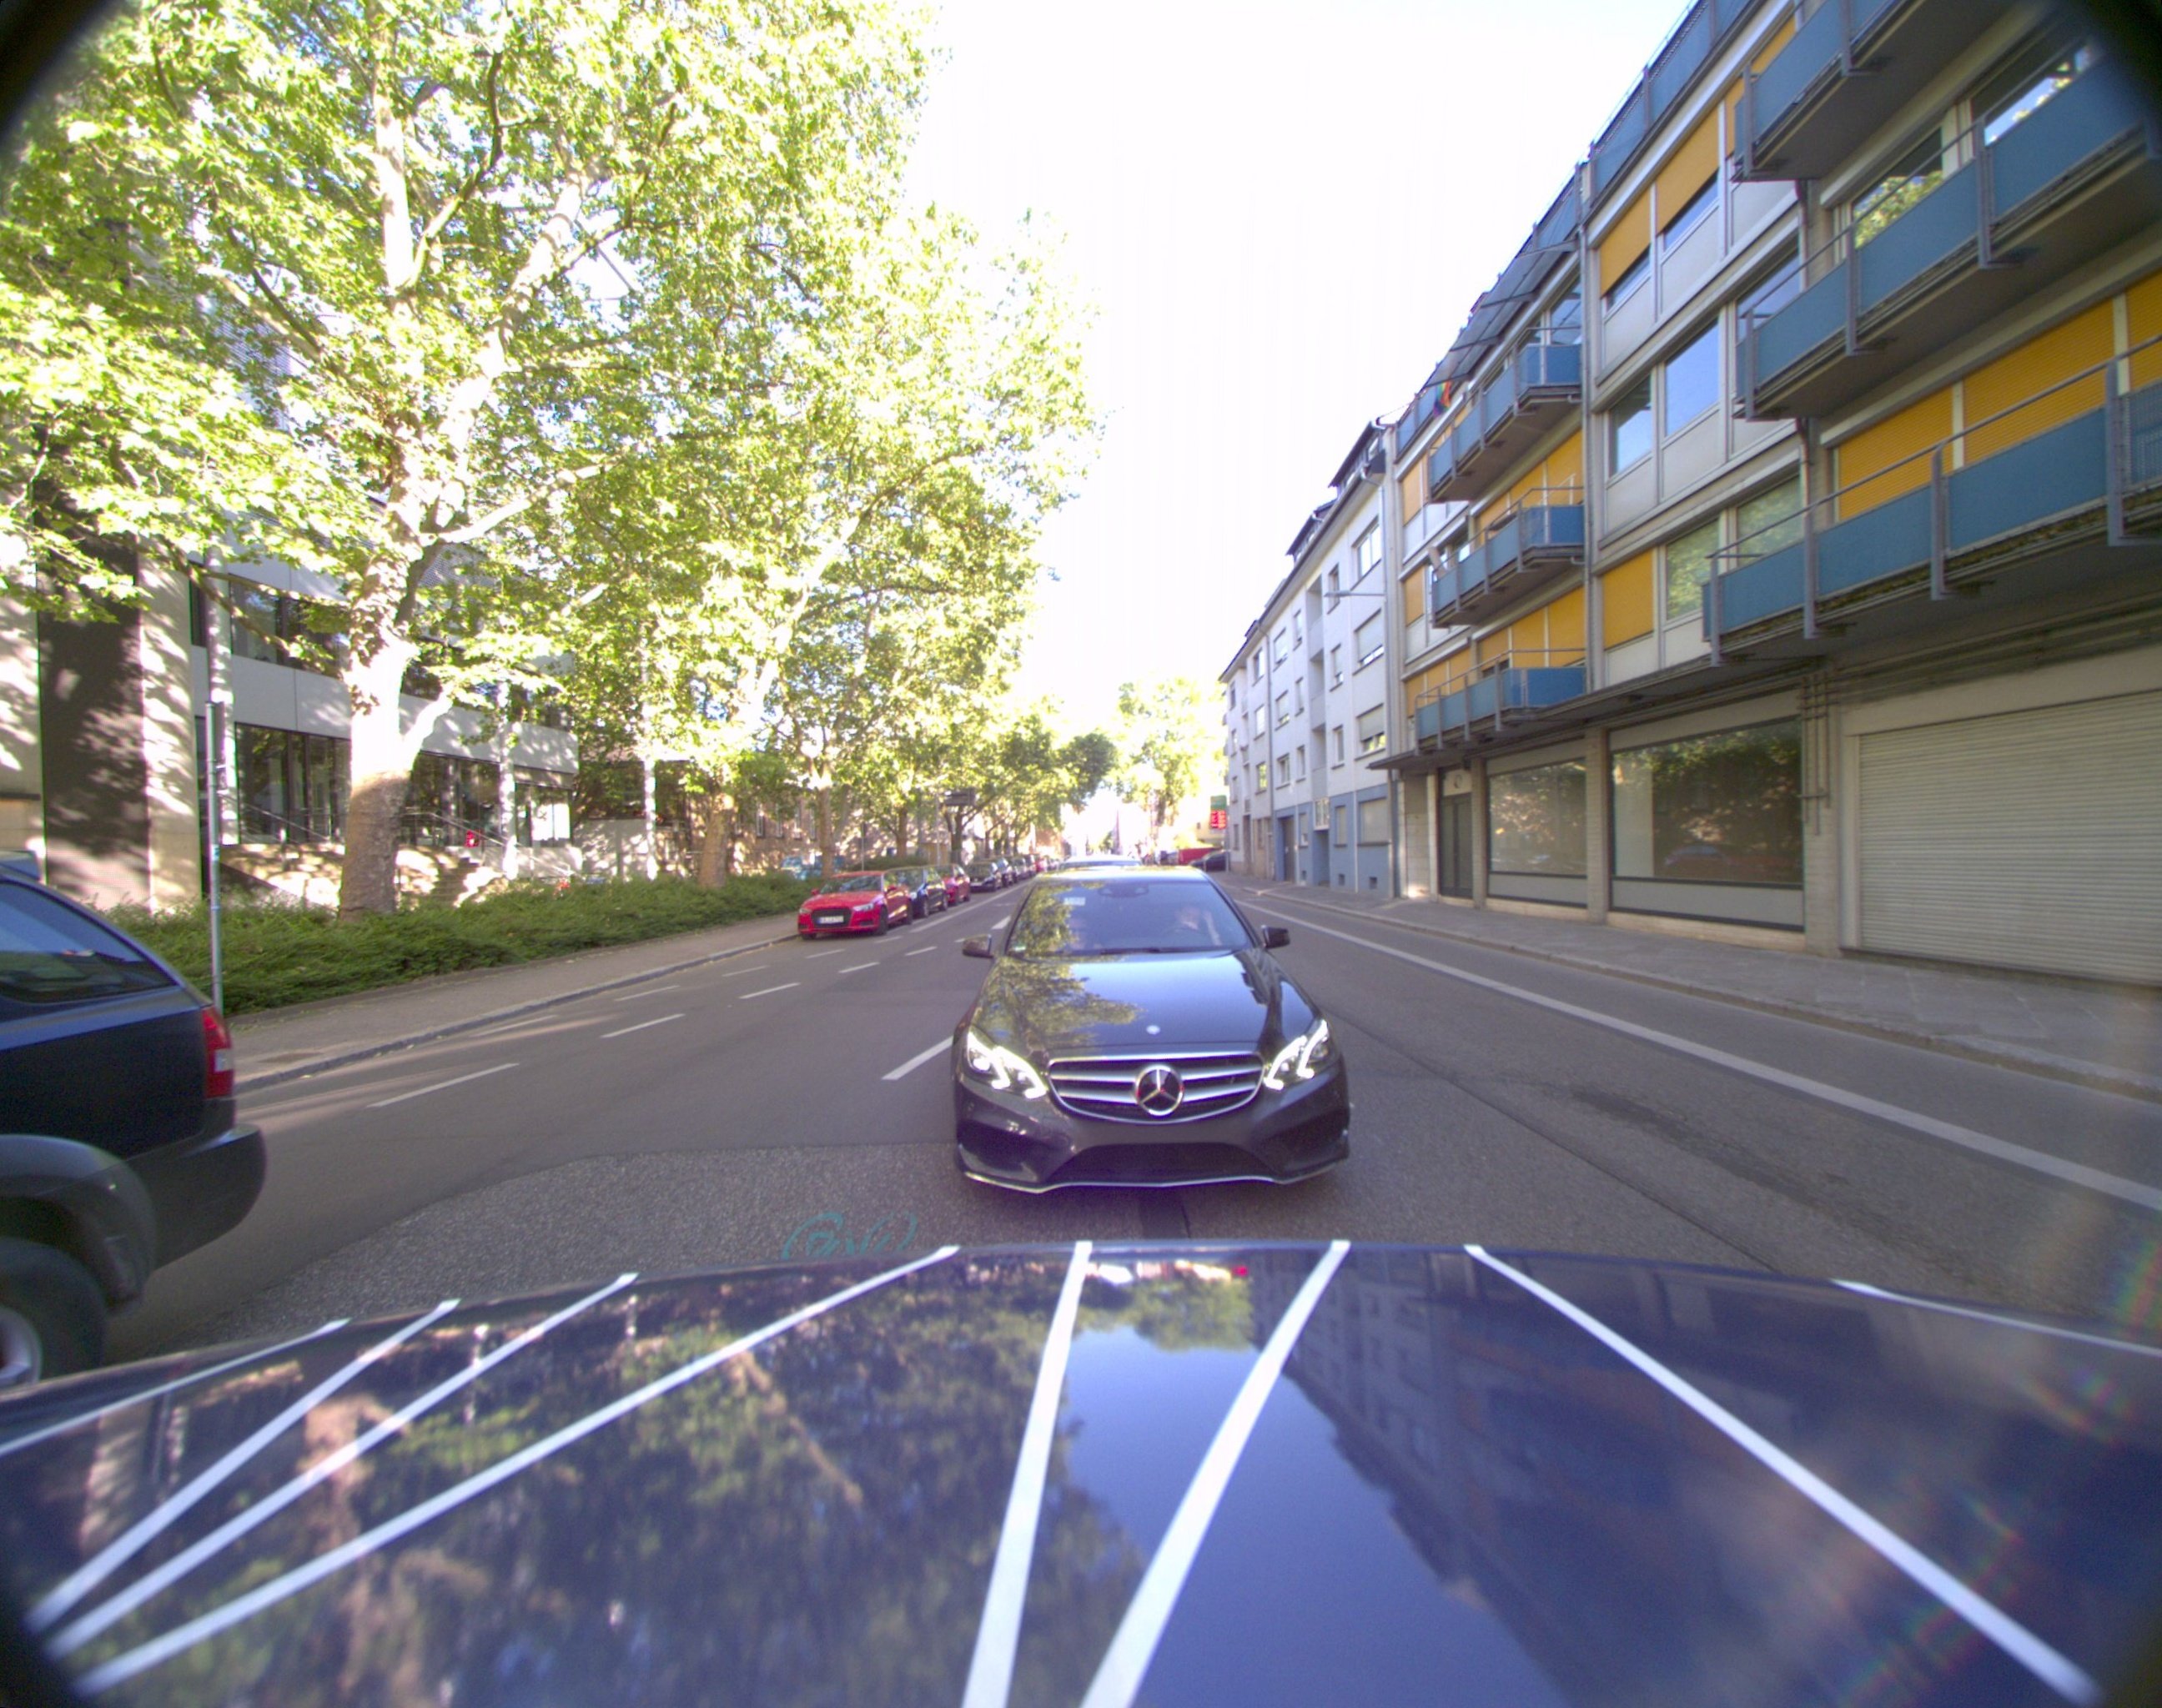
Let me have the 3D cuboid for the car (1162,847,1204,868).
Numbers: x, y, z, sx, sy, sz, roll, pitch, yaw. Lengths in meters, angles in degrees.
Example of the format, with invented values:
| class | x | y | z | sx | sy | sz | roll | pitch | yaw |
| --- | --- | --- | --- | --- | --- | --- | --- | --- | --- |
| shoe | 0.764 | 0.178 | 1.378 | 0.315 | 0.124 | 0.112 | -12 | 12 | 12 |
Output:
| class | x | y | z | sx | sy | sz | roll | pitch | yaw |
| --- | --- | --- | --- | --- | --- | --- | --- | --- | --- |
| car | 10.334 | 0.351 | 77.147 | 3.996 | 1.936 | 2.000 | -2 | 1 | 2 |

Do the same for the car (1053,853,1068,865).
| class | x | y | z | sx | sy | sz | roll | pitch | yaw |
| --- | --- | --- | --- | --- | --- | --- | --- | --- | --- |
| car | -2.837 | 0.650 | 105.183 | 1.866 | 1.632 | 4.481 | -2 | 0 | 1 |

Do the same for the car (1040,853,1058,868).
| class | x | y | z | sx | sy | sz | roll | pitch | yaw |
| --- | --- | --- | --- | --- | --- | --- | --- | --- | --- |
| car | -3.783 | 0.735 | 89.975 | 1.866 | 1.632 | 4.481 | -2 | 0 | 1 |

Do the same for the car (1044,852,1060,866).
| class | x | y | z | sx | sy | sz | roll | pitch | yaw |
| --- | --- | --- | --- | --- | --- | --- | --- | --- | --- |
| car | -3.674 | 0.630 | 96.774 | 1.866 | 1.632 | 4.481 | -2 | 0 | 1 |

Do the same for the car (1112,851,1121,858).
| class | x | y | z | sx | sy | sz | roll | pitch | yaw |
| --- | --- | --- | --- | --- | --- | --- | --- | --- | --- |
| car | 8.739 | 0.116 | 186.723 | 1.866 | 1.632 | 4.481 | -2 | 0 | 1 |

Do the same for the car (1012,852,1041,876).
| class | x | y | z | sx | sy | sz | roll | pitch | yaw |
| --- | --- | --- | --- | --- | --- | --- | --- | --- | --- |
| car | -4.243 | 0.761 | 59.755 | 1.866 | 1.749 | 4.481 | -2 | 0 | 1 |

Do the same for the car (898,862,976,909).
| class | x | y | z | sx | sy | sz | roll | pitch | yaw |
| --- | --- | --- | --- | --- | --- | --- | --- | --- | --- |
| car | -5.085 | 1.067 | 27.425 | 1.866 | 1.442 | 4.481 | -2 | 0 | 1 |

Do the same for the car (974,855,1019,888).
| class | x | y | z | sx | sy | sz | roll | pitch | yaw |
| --- | --- | --- | --- | --- | --- | --- | --- | --- | --- |
| car | -4.618 | 0.910 | 42.206 | 1.866 | 1.658 | 4.481 | -2 | 0 | 1 |

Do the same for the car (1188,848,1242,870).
| class | x | y | z | sx | sy | sz | roll | pitch | yaw |
| --- | --- | --- | --- | --- | --- | --- | --- | --- | --- |
| car | 10.718 | 0.382 | 61.193 | 3.996 | 1.543 | 2.000 | -2 | 1 | 2 |

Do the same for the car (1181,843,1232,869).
| class | x | y | z | sx | sy | sz | roll | pitch | yaw |
| --- | --- | --- | --- | --- | --- | --- | --- | --- | --- |
| car | 10.550 | 0.160 | 64.024 | 3.996 | 1.936 | 2.000 | -2 | 1 | 2 |

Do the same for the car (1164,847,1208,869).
| class | x | y | z | sx | sy | sz | roll | pitch | yaw |
| --- | --- | --- | --- | --- | --- | --- | --- | --- | --- |
| car | 10.250 | 0.383 | 74.505 | 3.996 | 1.936 | 2.000 | -2 | 1 | 2 |

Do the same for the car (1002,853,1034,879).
| class | x | y | z | sx | sy | sz | roll | pitch | yaw |
| --- | --- | --- | --- | --- | --- | --- | --- | --- | --- |
| car | -4.500 | 0.823 | 54.800 | 1.866 | 1.749 | 4.481 | -2 | 0 | 1 |

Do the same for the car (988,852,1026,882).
| class | x | y | z | sx | sy | sz | roll | pitch | yaw |
| --- | --- | --- | --- | --- | --- | --- | --- | --- | --- |
| car | -4.630 | 0.788 | 48.133 | 1.866 | 1.749 | 4.481 | -2 | 0 | 1 |

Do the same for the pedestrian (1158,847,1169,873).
| class | x | y | z | sx | sy | sz | roll | pitch | yaw |
| --- | --- | --- | --- | --- | --- | --- | --- | --- | --- |
| pedestrian | 6.523 | 0.446 | 60.148 | 0.735 | 2.002 | 1.046 | -2 | 1 | -1 |

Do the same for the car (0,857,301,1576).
| class | x | y | z | sx | sy | sz | roll | pitch | yaw |
| --- | --- | --- | --- | --- | --- | --- | --- | --- | --- |
| car | -3.625 | 0.928 | 0.319 | 1.866 | 1.753 | 4.481 | -2 | 0 | 1 |

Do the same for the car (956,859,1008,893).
| class | x | y | z | sx | sy | sz | roll | pitch | yaw |
| --- | --- | --- | --- | --- | --- | --- | --- | --- | --- |
| car | -4.753 | 1.027 | 37.172 | 1.866 | 1.442 | 4.481 | -2 | 0 | 1 |

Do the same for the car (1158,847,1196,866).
| class | x | y | z | sx | sy | sz | roll | pitch | yaw |
| --- | --- | --- | --- | --- | --- | --- | --- | --- | --- |
| car | 10.737 | 0.248 | 84.980 | 3.996 | 1.936 | 2.000 | -2 | 1 | 2 |

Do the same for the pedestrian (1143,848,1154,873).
| class | x | y | z | sx | sy | sz | roll | pitch | yaw |
| --- | --- | --- | --- | --- | --- | --- | --- | --- | --- |
| pedestrian | 5.366 | 0.515 | 60.638 | 0.735 | 2.002 | 0.797 | -2 | 1 | 1 |

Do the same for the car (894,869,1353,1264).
| class | x | y | z | sx | sy | sz | roll | pitch | yaw |
| --- | --- | --- | --- | --- | --- | --- | --- | --- | --- |
| car | 0.208 | 0.933 | 5.407 | 1.866 | 1.492 | 4.481 | -2 | 0 | 1 |

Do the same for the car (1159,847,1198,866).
| class | x | y | z | sx | sy | sz | roll | pitch | yaw |
| --- | --- | --- | --- | --- | --- | --- | --- | --- | --- |
| car | 10.592 | 0.282 | 82.486 | 3.996 | 1.936 | 2.000 | -2 | 1 | 2 |

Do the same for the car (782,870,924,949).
| class | x | y | z | sx | sy | sz | roll | pitch | yaw |
| --- | --- | --- | --- | --- | --- | --- | --- | --- | --- |
| car | -5.101 | 1.179 | 17.730 | 1.866 | 1.442 | 4.481 | -2 | 0 | 1 |

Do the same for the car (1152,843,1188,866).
| class | x | y | z | sx | sy | sz | roll | pitch | yaw |
| --- | --- | --- | --- | --- | --- | --- | --- | --- | --- |
| car | 10.491 | 0.011 | 89.507 | 3.996 | 2.505 | 2.000 | -2 | 1 | 2 |

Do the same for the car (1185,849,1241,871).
| class | x | y | z | sx | sy | sz | roll | pitch | yaw |
| --- | --- | --- | --- | --- | --- | --- | --- | --- | --- |
| car | 10.177 | 0.428 | 58.871 | 3.996 | 1.543 | 2.000 | -2 | 1 | 2 |

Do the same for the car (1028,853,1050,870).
| class | x | y | z | sx | sy | sz | roll | pitch | yaw |
| --- | --- | --- | --- | --- | --- | --- | --- | --- | --- |
| car | -4.197 | 0.711 | 76.278 | 1.866 | 1.632 | 4.481 | -2 | 0 | 1 |

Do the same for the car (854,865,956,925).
| class | x | y | z | sx | sy | sz | roll | pitch | yaw |
| --- | --- | --- | --- | --- | --- | --- | --- | --- | --- |
| car | -5.040 | 1.126 | 22.381 | 1.866 | 1.442 | 4.481 | -2 | 0 | 1 |

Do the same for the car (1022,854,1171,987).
| class | x | y | z | sx | sy | sz | roll | pitch | yaw |
| --- | --- | --- | --- | --- | --- | --- | --- | --- | --- |
| car | 0.228 | 0.859 | 11.930 | 1.866 | 1.630 | 4.303 | -2 | 0 | 1 |
